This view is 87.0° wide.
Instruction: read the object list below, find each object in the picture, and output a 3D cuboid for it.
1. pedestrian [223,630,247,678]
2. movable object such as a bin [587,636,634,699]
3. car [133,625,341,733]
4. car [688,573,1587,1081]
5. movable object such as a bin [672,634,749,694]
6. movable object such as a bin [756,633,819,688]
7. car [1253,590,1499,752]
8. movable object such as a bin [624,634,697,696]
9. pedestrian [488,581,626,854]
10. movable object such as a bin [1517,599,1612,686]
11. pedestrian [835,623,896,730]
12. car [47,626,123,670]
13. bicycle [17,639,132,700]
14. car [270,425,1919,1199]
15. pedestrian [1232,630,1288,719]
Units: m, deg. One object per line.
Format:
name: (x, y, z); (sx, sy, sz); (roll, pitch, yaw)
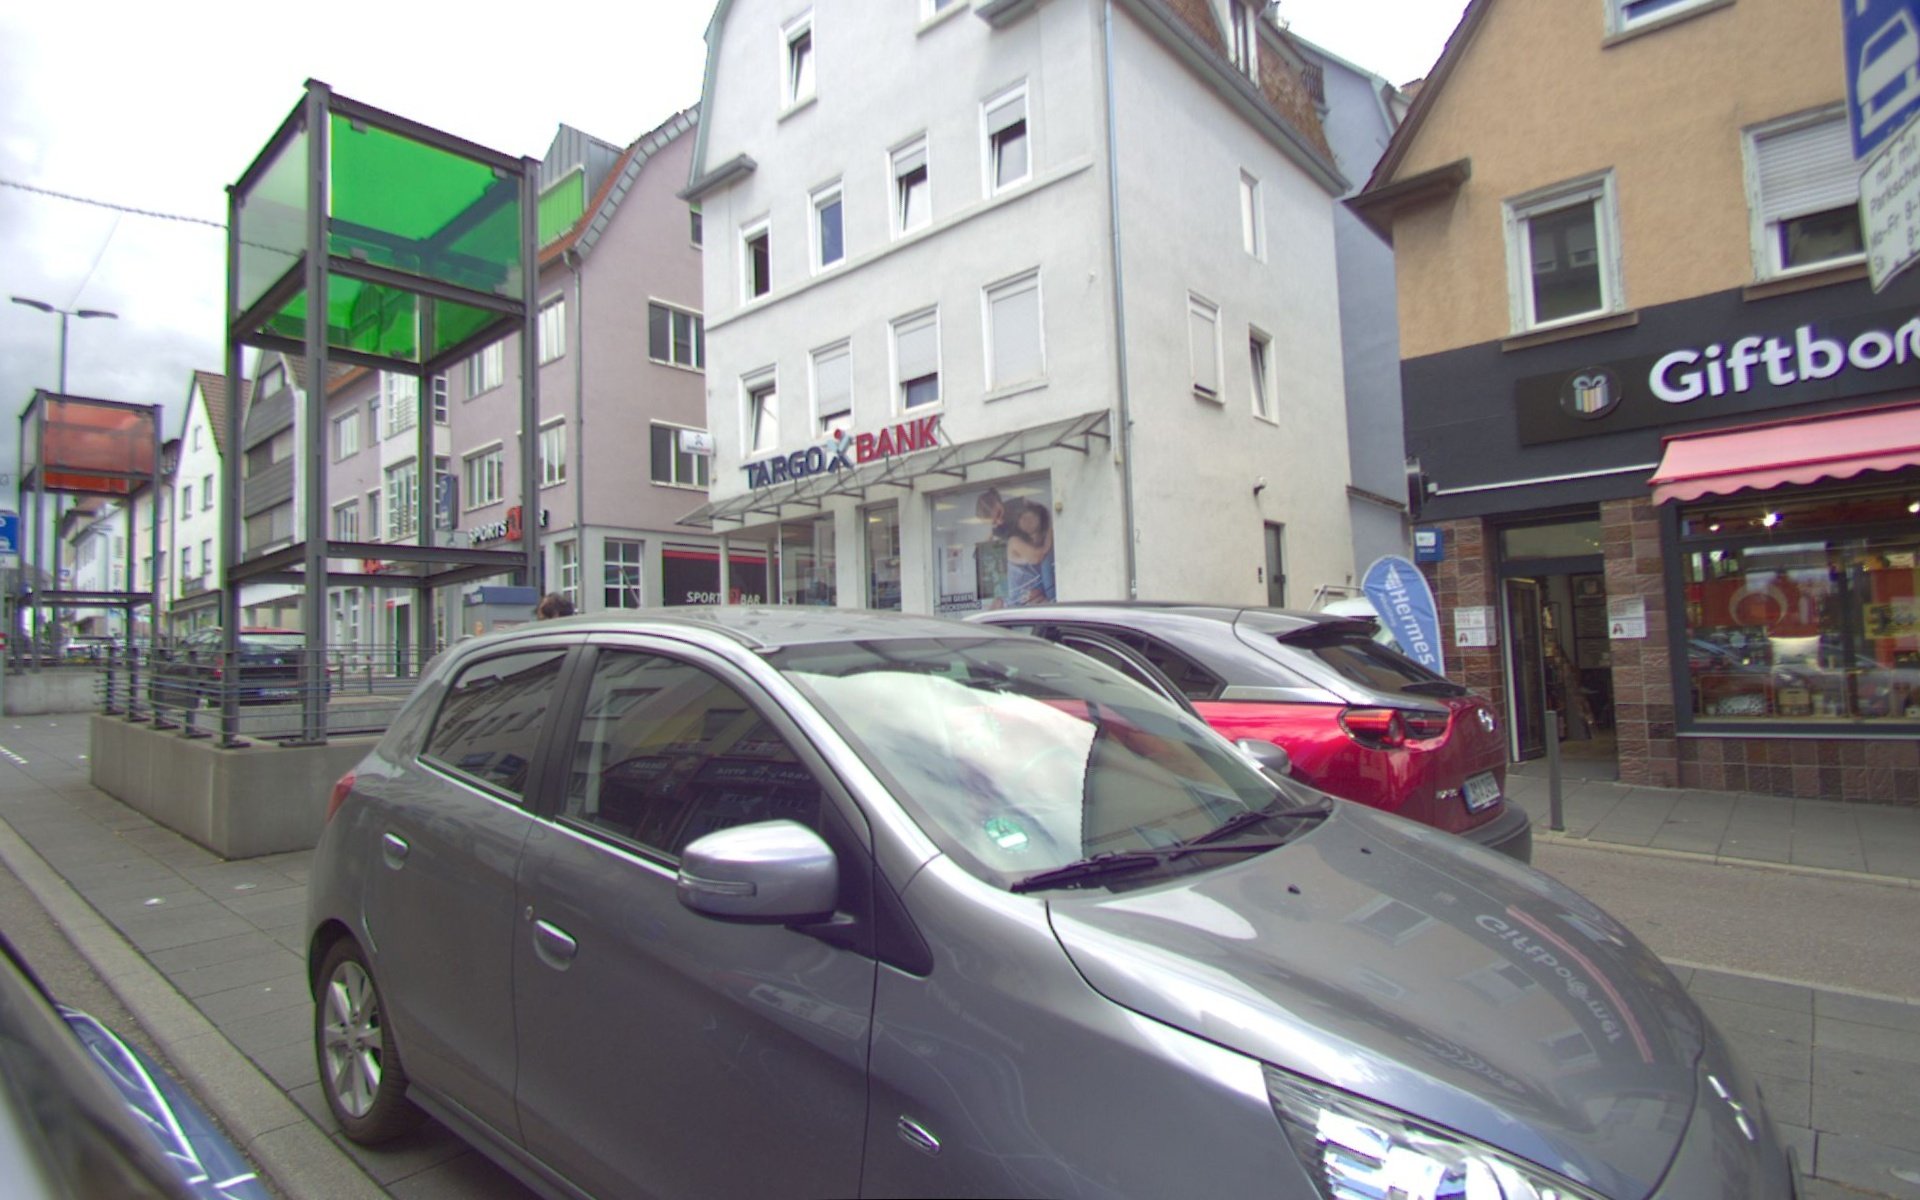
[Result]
pedestrian: (-26.680, 1.992, 37.250); (0.513, 1.729, 0.584); (-1, -1, 41)
movable object such as a bin: (-7.865, 1.506, 22.789); (0.807, 1.387, 0.682); (-2, -2, 41)
car: (-11.352, 1.161, 15.808); (3.850, 1.486, 1.554); (-1, -3, 38)
car: (0.605, 0.760, 5.135); (4.189, 1.555, 1.721); (-1, -3, 40)
movable object such as a bin: (-6.071, 1.526, 24.633); (1.406, 1.387, 1.270); (-2, -2, 41)
movable object such as a bin: (-4.534, 1.563, 26.586); (1.043, 1.387, 1.270); (-2, -2, 40)
car: (5.947, 0.859, 14.219); (1.883, 1.887, 4.027); (-2, -1, 42)
movable object such as a bin: (-7.010, 1.508, 23.727); (1.067, 1.387, 1.270); (-2, -2, 40)
pedestrian: (-2.706, 0.743, 6.771); (0.901, 1.685, 0.527); (-3, -3, 44)
movable object such as a bin: (11.206, 0.767, 18.710); (1.265, 1.490, 2.282); (-2, -2, 37)
pedestrian: (-1.449, 1.162, 15.485); (0.716, 1.585, 0.559); (-2, -4, 41)
car: (-34.108, 1.842, 39.421); (4.120, 1.583, 1.662); (-1, -1, 41)
bicycle: (-18.815, 1.455, 21.538); (0.459, 1.232, 1.760); (-1, -3, 40)
car: (-0.122, 0.674, 2.441); (3.667, 1.544, 1.604); (-1, -1, 40)
pedestrian: (4.582, 1.119, 15.460); (0.606, 1.329, 0.619); (-2, -2, 40)
